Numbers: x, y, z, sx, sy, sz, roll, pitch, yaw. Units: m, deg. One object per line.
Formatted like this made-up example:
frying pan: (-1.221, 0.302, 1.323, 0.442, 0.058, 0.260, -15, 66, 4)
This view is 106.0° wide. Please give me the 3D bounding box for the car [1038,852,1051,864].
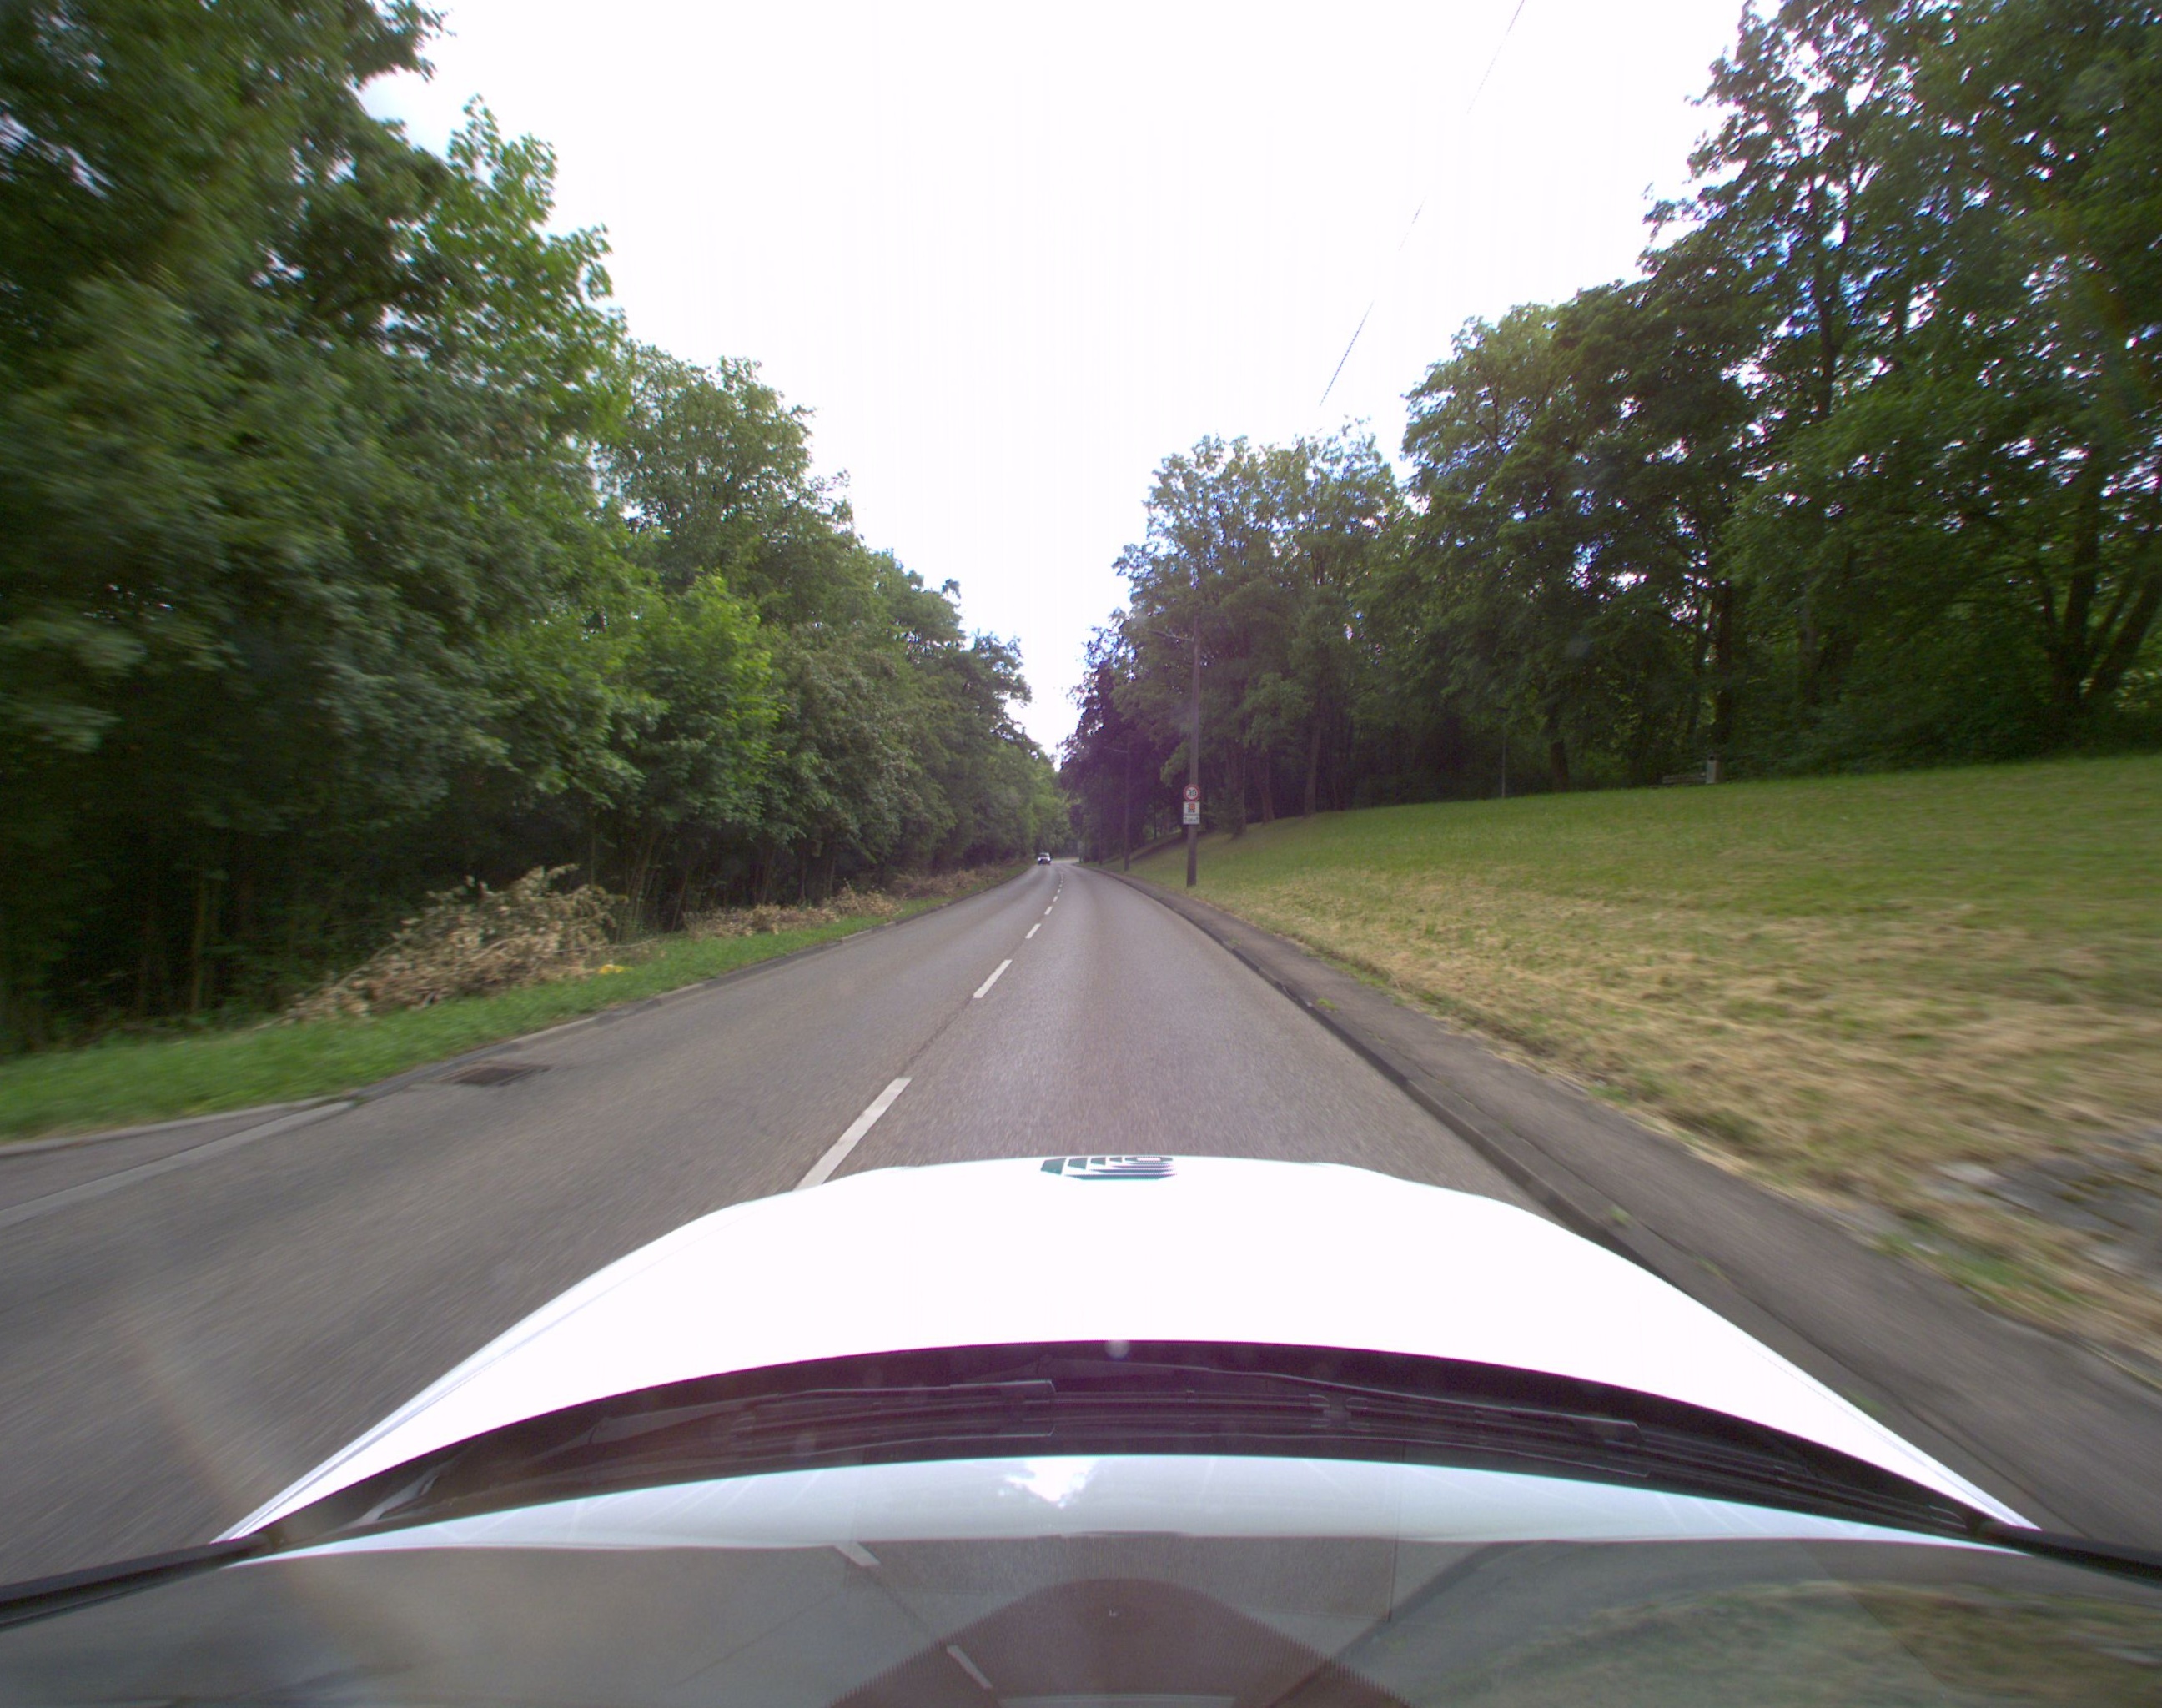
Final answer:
car: (-5.800, 0.672, 128.881, 1.988, 1.948, 4.942, 0, -1, -2)
